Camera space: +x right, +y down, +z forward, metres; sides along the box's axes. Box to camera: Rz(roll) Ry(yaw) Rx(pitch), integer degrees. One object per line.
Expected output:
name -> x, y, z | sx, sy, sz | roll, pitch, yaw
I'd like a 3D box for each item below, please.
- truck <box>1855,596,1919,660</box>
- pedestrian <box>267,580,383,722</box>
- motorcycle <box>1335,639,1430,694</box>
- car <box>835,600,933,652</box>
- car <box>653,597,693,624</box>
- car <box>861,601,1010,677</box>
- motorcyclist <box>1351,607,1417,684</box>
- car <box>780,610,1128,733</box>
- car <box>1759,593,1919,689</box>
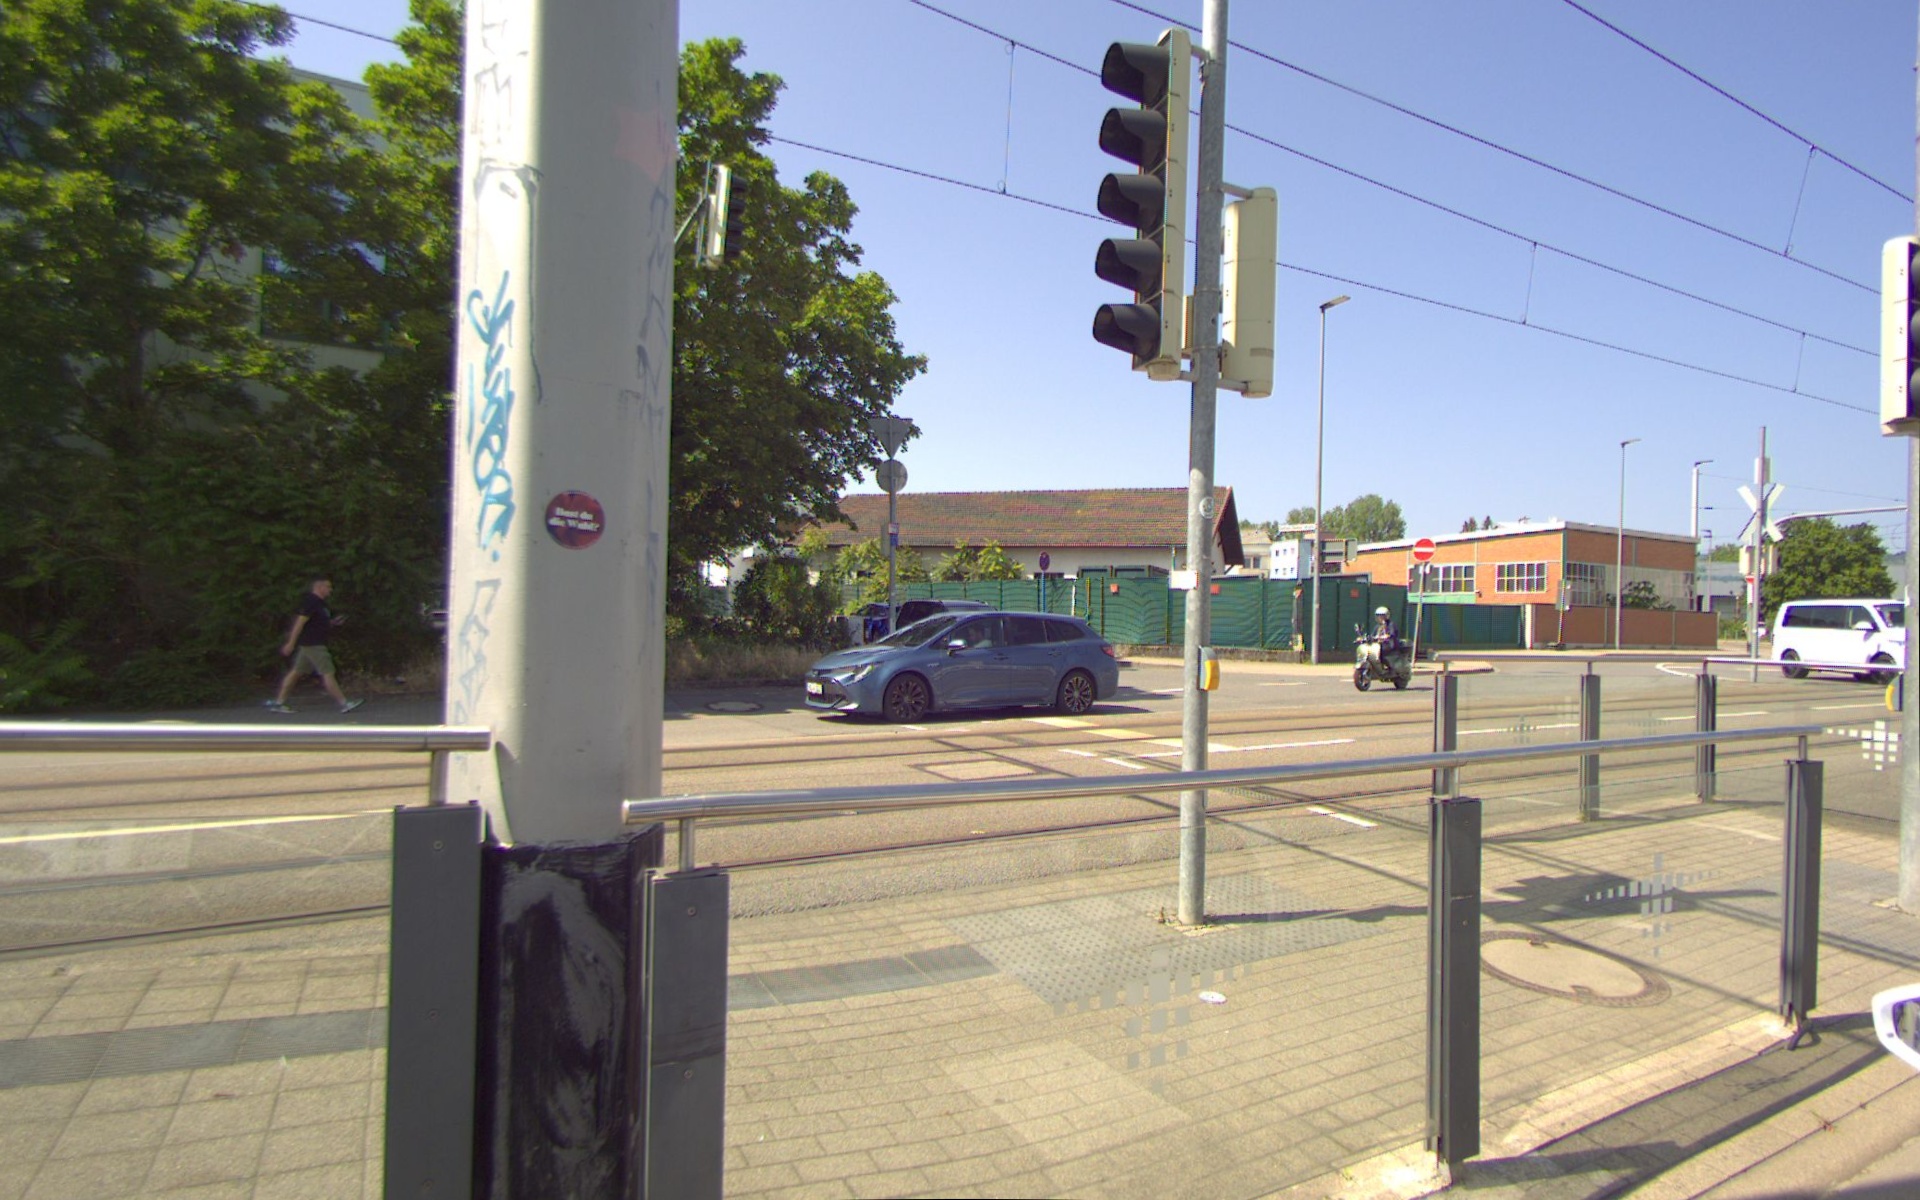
truck -> 37.887, 1.086, 37.521 | 6.274, 2.368, 2.206 | 0, -1, 29
pedestrian -> -7.943, 0.616, 12.626 | 1.146, 1.692, 0.882 | 2, 0, -30
motorcycle -> 8.399, 1.297, 19.957 | 1.944, 1.024, 0.817 | 1, -1, -34
car -> -2.541, 0.821, 32.763 | 1.782, 1.557, 4.135 | 1, -1, -26
car -> -18.224, 0.639, 63.611 | 1.782, 1.623, 3.974 | 1, 0, -26
car -> -0.695, 0.880, 24.397 | 1.909, 1.604, 4.160 | 1, 1, -29
motorcyclist -> 8.429, 0.888, 19.985 | 0.953, 1.495, 0.830 | 1, 0, -34
car -> -0.011, 0.903, 13.957 | 4.543, 1.461, 1.897 | 1, -2, -31
car -> 21.759, 0.919, 23.854 | 2.125, 2.040, 5.021 | 1, -1, 9
